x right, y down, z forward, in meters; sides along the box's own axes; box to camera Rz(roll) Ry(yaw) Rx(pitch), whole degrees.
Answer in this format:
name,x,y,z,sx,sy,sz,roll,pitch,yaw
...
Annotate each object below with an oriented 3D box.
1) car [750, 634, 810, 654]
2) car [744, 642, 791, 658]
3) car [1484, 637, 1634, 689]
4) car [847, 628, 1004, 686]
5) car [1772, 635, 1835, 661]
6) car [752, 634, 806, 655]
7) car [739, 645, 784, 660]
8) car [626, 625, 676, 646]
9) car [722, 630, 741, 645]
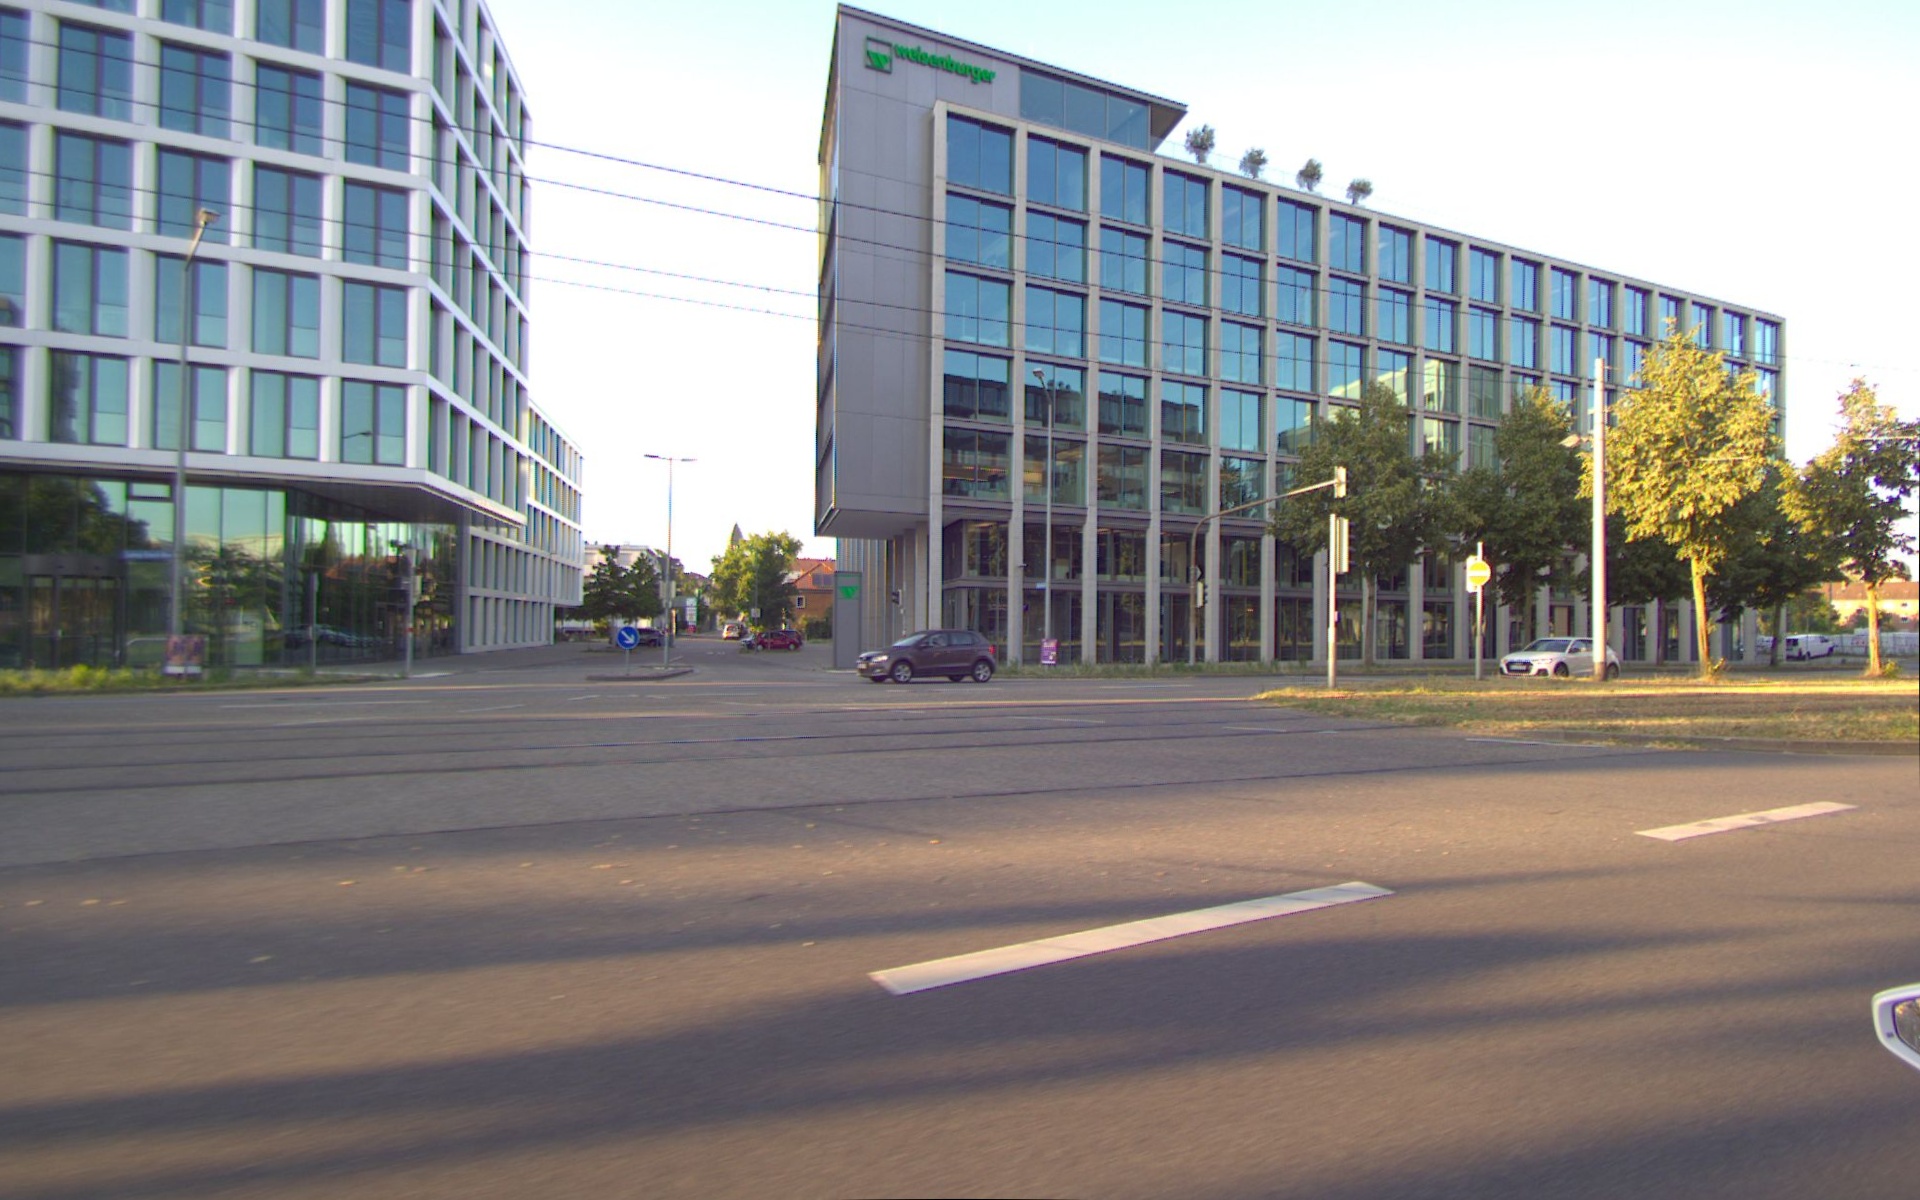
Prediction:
name,x,y,z,sx,sy,sz,roll,pitch,yaw
car,-14.093,3.443,78.610,4.460,1.576,1.698,1,-1,-17
car,-16.961,4.394,88.356,3.934,1.404,1.421,1,-1,-16
car,18.603,1.930,31.169,4.572,1.505,1.896,2,-2,-27
car,-0.921,1.509,27.293,3.949,1.468,1.634,1,-1,-28
car,70.523,4.008,83.982,5.015,2.040,2.200,2,-2,-25
car,-13.826,3.376,76.548,3.932,1.576,1.699,1,-1,-14
car,-16.434,4.336,83.074,3.611,1.235,1.519,1,-1,-16
car,-25.874,2.971,84.065,3.940,1.686,1.991,1,-1,-20
car,-27.481,4.479,120.945,1.964,1.746,3.993,1,-1,-10
